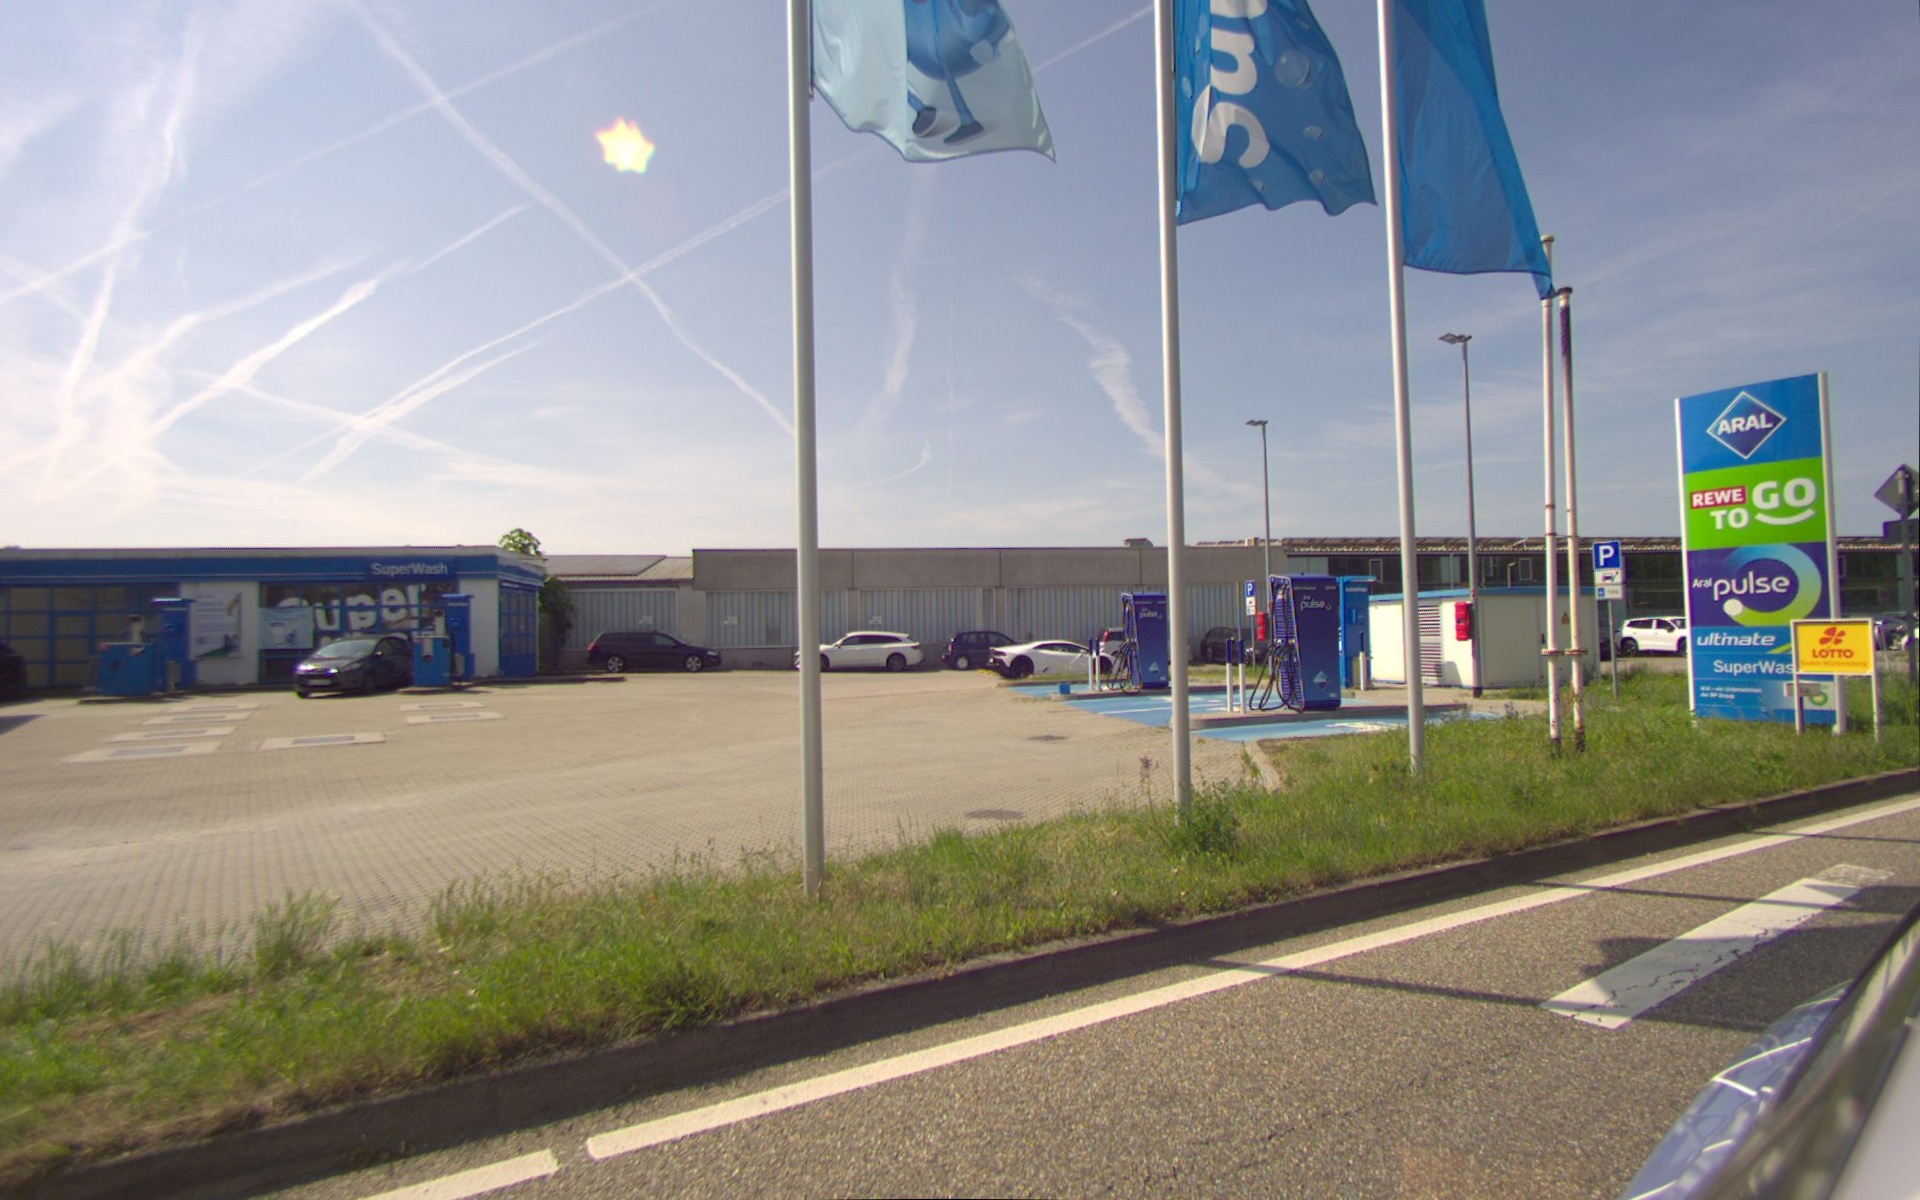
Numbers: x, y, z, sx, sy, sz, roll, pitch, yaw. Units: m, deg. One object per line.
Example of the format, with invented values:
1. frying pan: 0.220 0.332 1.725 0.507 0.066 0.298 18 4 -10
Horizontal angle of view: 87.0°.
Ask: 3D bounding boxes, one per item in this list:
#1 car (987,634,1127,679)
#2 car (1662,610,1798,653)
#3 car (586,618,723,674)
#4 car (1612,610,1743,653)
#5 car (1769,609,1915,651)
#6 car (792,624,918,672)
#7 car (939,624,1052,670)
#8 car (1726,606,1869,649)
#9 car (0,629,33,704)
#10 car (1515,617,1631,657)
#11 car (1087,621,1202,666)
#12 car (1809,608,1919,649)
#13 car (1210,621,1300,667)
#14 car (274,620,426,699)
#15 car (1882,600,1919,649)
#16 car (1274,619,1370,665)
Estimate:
1. car: 2.994 1.743 31.712 4.041 1.269 1.701 -1 -1 -8
2. car: 31.705 1.283 41.853 1.785 1.659 4.470 1 -2 -8
3. car: -10.767 1.589 36.009 4.558 1.849 1.893 -1 -1 -13
4. car: 29.298 1.271 41.522 1.785 1.659 4.470 1 -2 -8
5. car: 36.676 1.247 42.262 1.785 1.659 4.470 1 -2 -8
6. car: -3.890 1.730 37.263 4.436 1.625 1.893 -1 -1 -11
7. car: 1.307 1.748 38.372 3.939 1.625 1.893 -1 -1 -8
8. car: 34.274 1.124 41.602 1.785 1.659 4.470 1 -2 -8
9. car: -24.443 1.608 23.553 1.864 1.850 4.738 -2 -3 -8
10. car: 24.227 1.444 40.187 1.785 1.477 4.050 1 -2 -7
11. car: 7.085 1.643 39.105 3.941 1.625 1.891 -1 -1 -4
12. car: 39.018 1.214 42.977 1.785 1.659 4.470 1 -2 -8
13. car: 11.033 1.615 38.131 1.852 1.625 4.024 -1 -1 -6
14. car: -15.573 1.452 26.110 1.852 1.849 4.176 -1 -1 -8
15. car: 33.221 0.815 33.068 1.784 1.659 4.265 1 -2 -13
16. car: 13.640 1.539 38.389 1.852 1.625 4.024 -1 -1 -6
